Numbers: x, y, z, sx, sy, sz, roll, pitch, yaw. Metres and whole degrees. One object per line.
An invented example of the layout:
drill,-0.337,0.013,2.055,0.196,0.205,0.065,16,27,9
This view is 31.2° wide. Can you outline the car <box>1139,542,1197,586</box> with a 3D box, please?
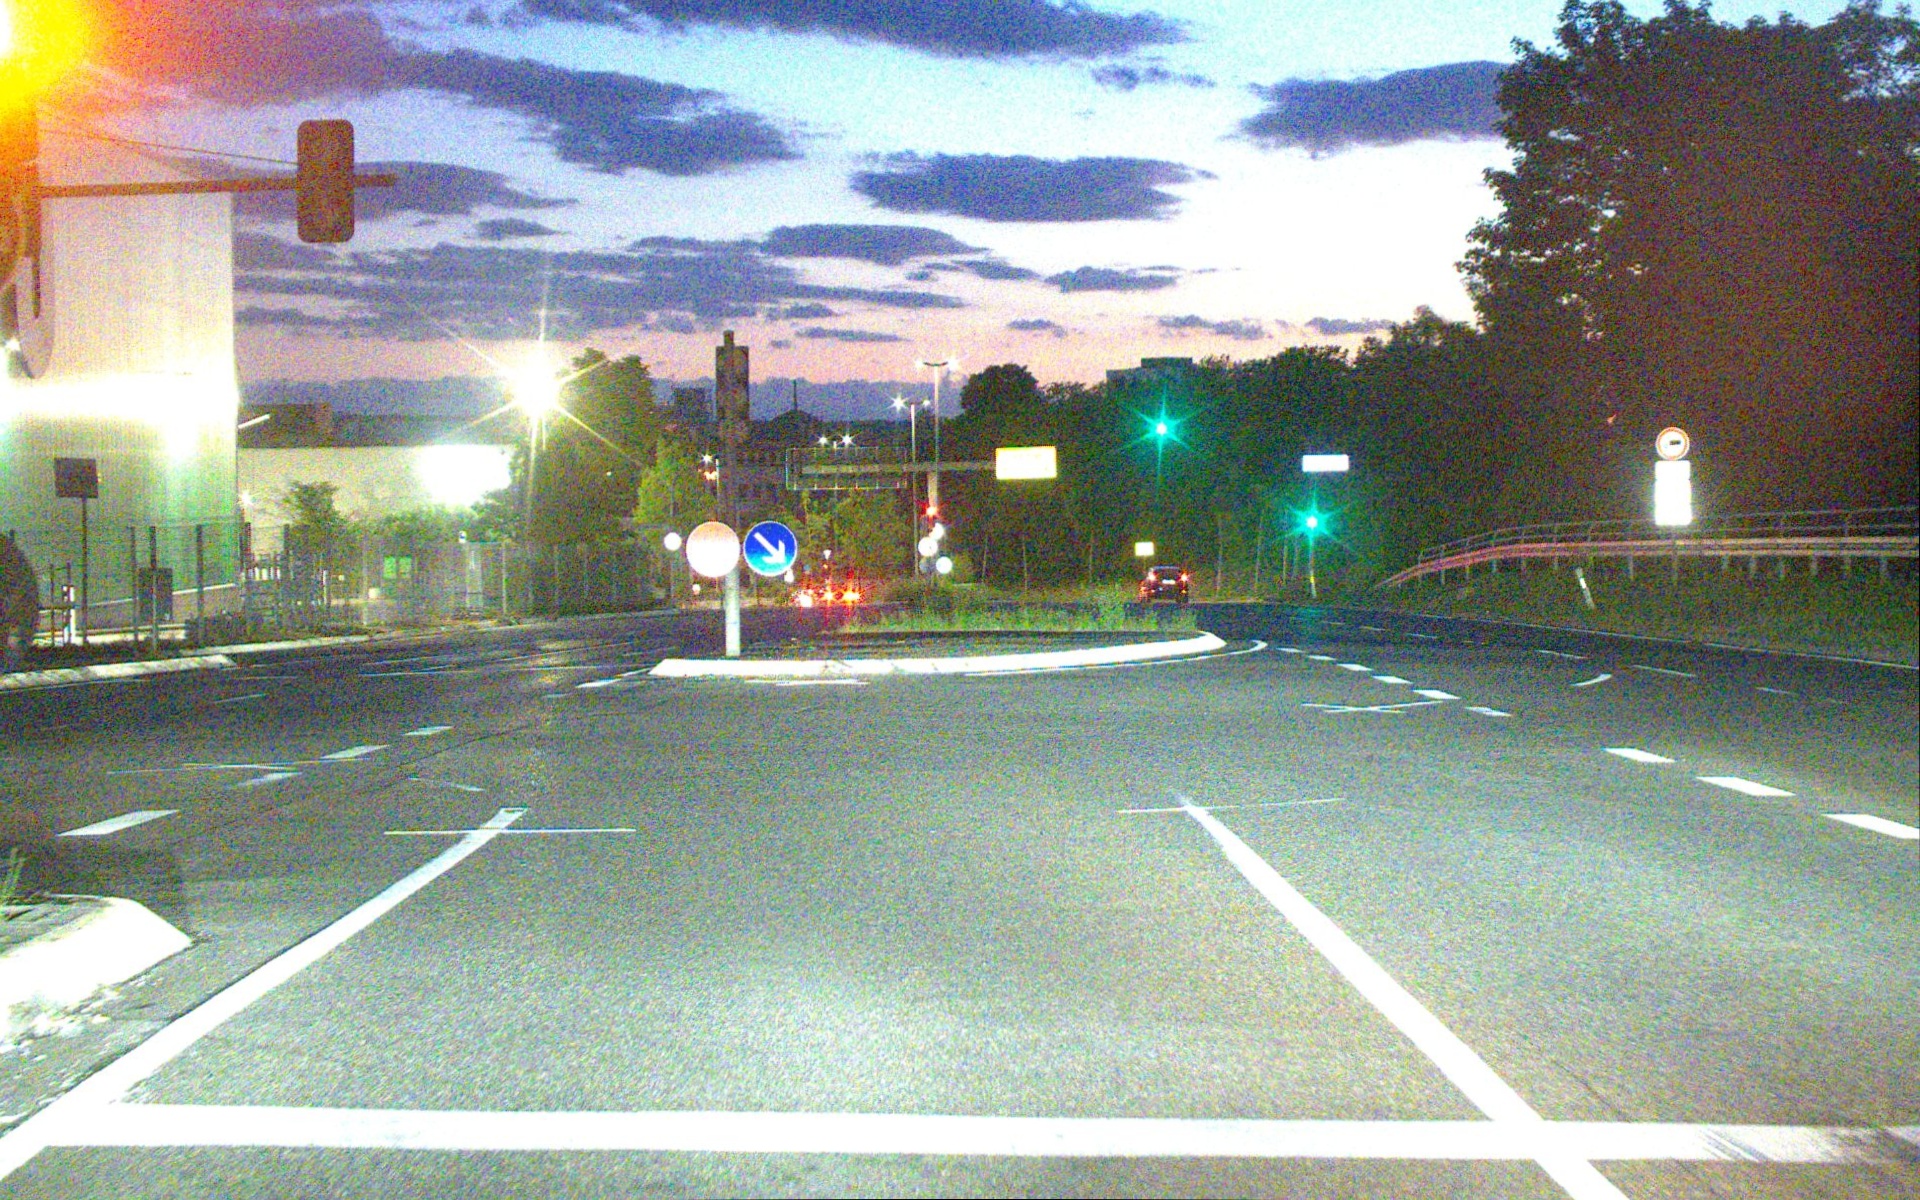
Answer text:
car,8.259,-1.434,136.833,1.935,1.640,4.001,-1,2,-1
